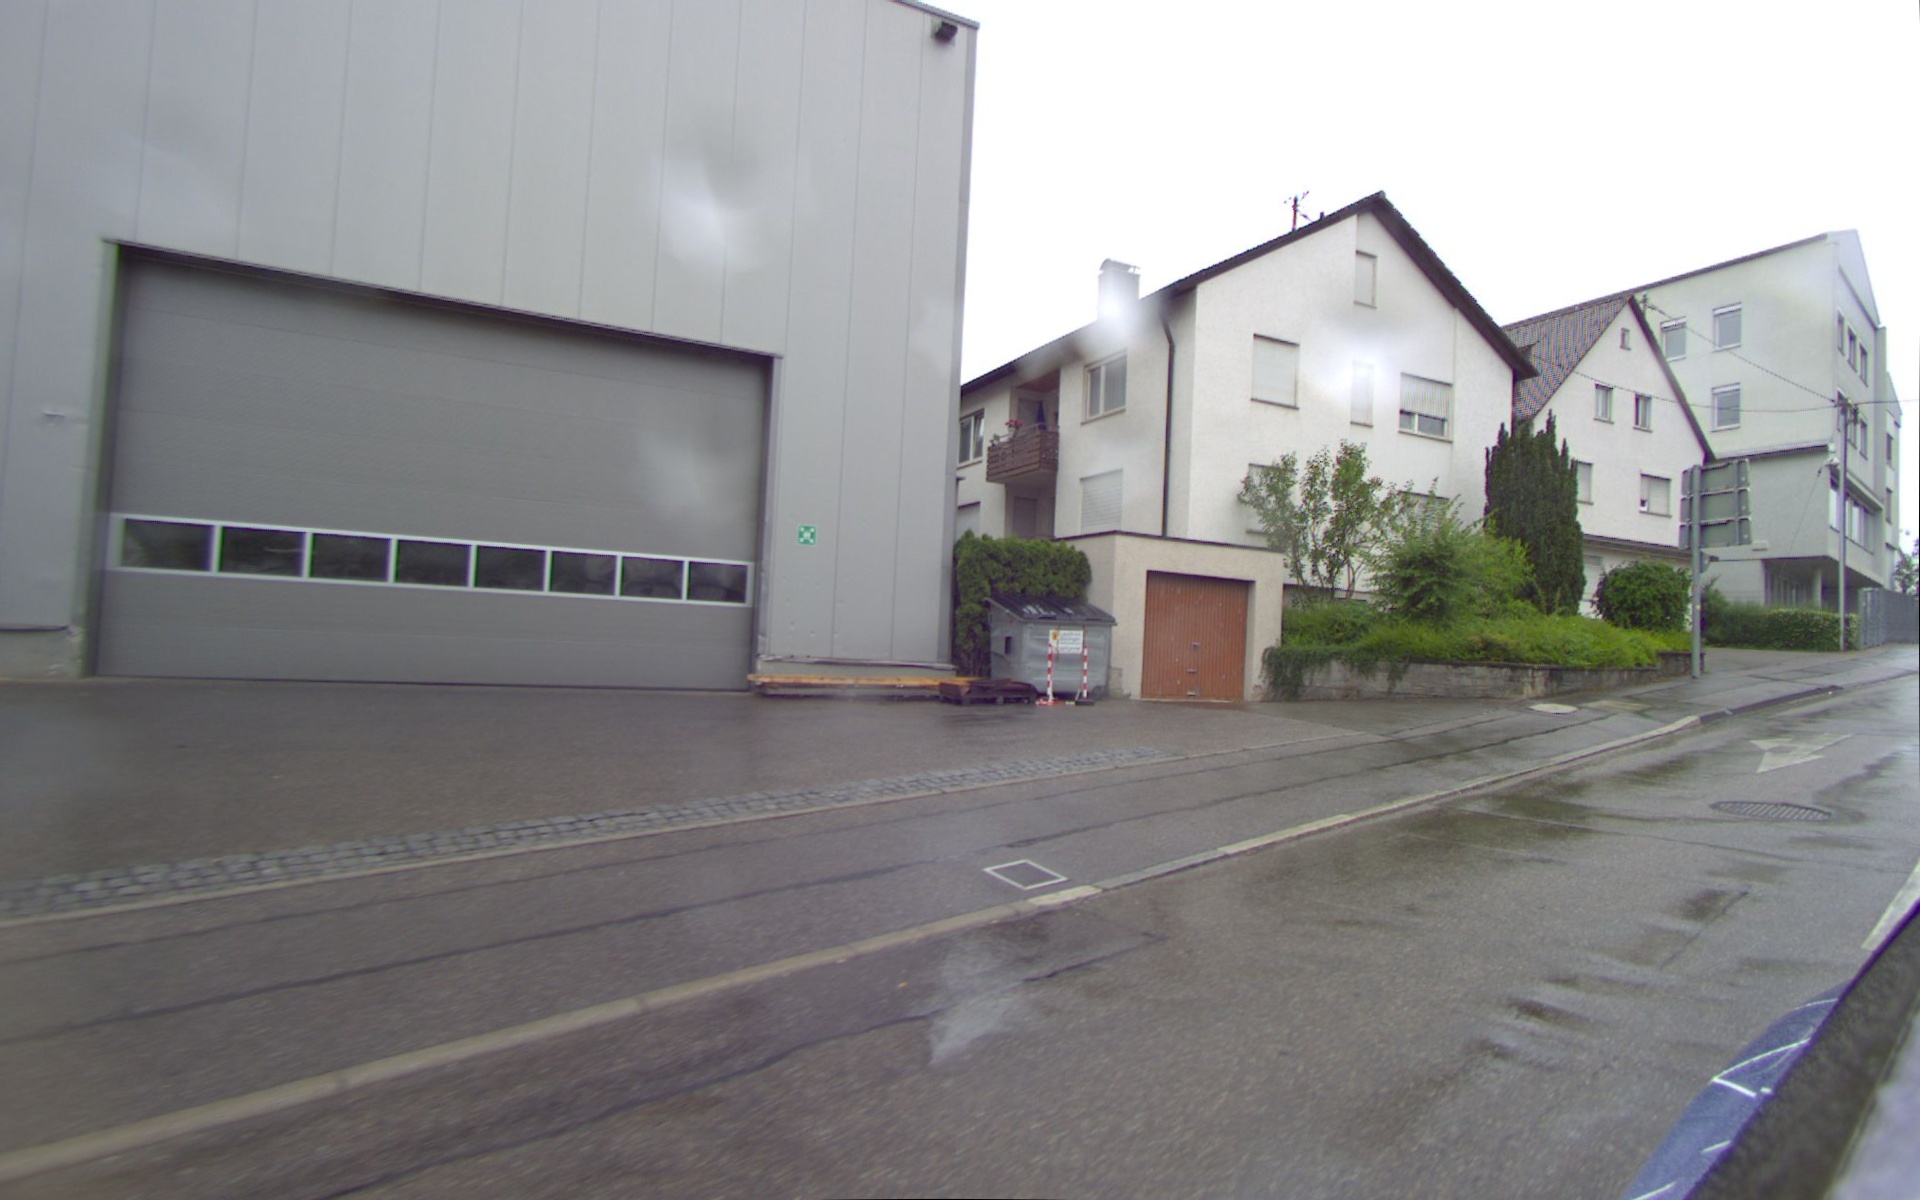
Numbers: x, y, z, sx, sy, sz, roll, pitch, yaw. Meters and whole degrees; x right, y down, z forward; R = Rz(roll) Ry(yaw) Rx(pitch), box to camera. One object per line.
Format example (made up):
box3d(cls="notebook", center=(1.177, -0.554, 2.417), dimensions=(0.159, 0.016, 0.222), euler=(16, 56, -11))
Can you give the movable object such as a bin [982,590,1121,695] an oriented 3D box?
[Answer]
box3d(cls="movable object such as a bin", center=(1.417, 0.642, 15.912), dimensions=(1.742, 1.537, 1.268), euler=(1, 0, -25))
